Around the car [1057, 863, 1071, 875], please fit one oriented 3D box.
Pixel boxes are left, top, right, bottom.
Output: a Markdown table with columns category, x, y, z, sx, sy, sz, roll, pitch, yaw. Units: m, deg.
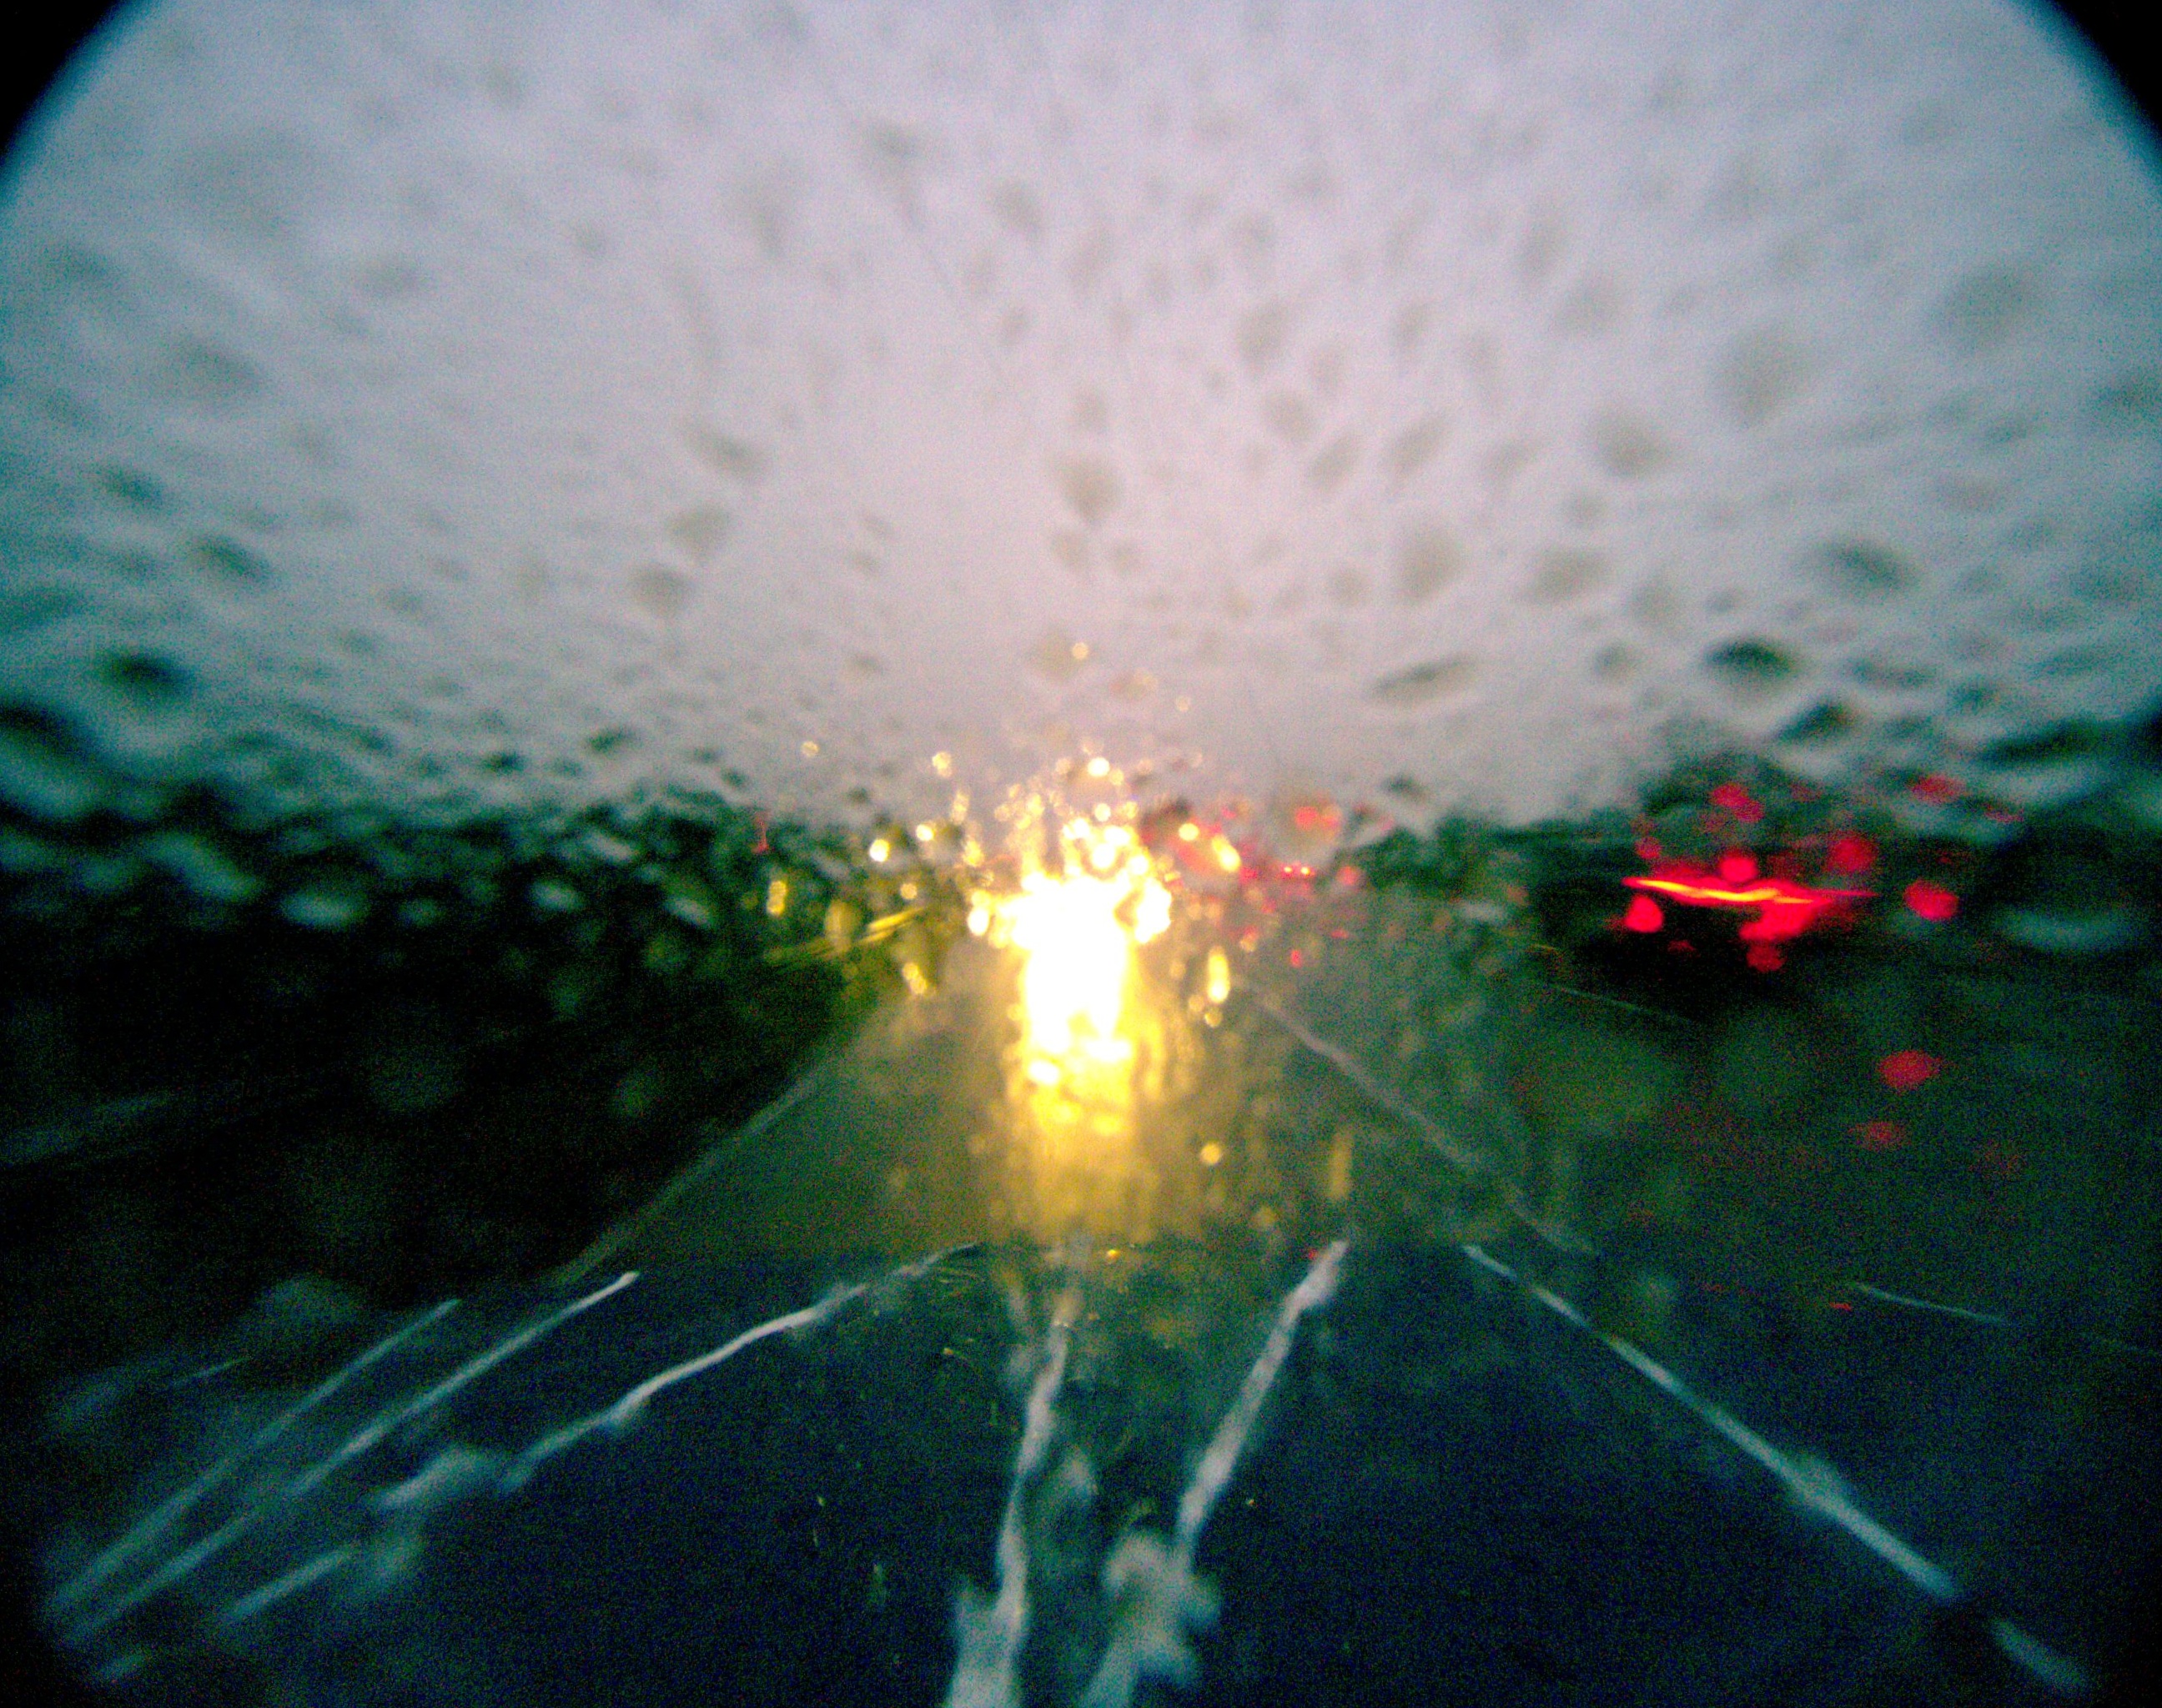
| category | x | y | z | sx | sy | sz | roll | pitch | yaw |
| --- | --- | --- | --- | --- | --- | --- | --- | --- | --- |
| car | -2.672 | 2.355 | 119.032 | 1.919 | 1.622 | 3.859 | 2 | -3 | -6 |

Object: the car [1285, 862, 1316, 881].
| category | x | y | z | sx | sy | sz | roll | pitch | yaw |
| --- | --- | --- | --- | --- | --- | --- | --- | --- | --- |
| car | 16.251 | 1.275 | 56.165 | 1.597 | 1.237 | 4.007 | -3 | -1 | 25 |

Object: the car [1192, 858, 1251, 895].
| category | x | y | z | sx | sy | sz | roll | pitch | yaw |
| --- | --- | --- | --- | --- | --- | --- | --- | --- | --- |
| car | 6.014 | 0.927 | 32.964 | 1.640 | 1.463 | 4.449 | -1 | 0 | -1 |

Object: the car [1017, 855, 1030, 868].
| category | x | y | z | sx | sy | sz | roll | pitch | yaw |
| --- | --- | --- | --- | --- | --- | --- | --- | --- | --- |
| car | -10.276 | 1.311 | 136.465 | 1.878 | 2.124 | 5.176 | 3 | -1 | -9 |

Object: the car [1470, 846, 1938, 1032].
| category | x | y | z | sx | sy | sz | roll | pitch | yaw |
| --- | --- | --- | --- | --- | --- | --- | --- | --- | --- |
| car | 6.605 | 0.743 | 8.879 | 1.893 | 1.580 | 4.382 | -2 | 0 | 1 |

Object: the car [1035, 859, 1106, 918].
| category | x | y | z | sx | sy | sz | roll | pitch | yaw |
| --- | --- | --- | --- | --- | --- | --- | --- | --- | --- |
| car | -0.247 | 0.929 | 22.304 | 1.886 | 1.514 | 4.000 | 0 | 1 | 1 |

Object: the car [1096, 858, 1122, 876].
| category | x | y | z | sx | sy | sz | roll | pitch | yaw |
| --- | --- | --- | --- | --- | --- | --- | --- | --- | --- |
| car | 2.352 | 1.096 | 65.282 | 1.700 | 1.409 | 3.998 | -2 | 0 | -5 |

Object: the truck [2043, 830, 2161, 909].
| category | x | y | z | sx | sy | sz | roll | pitch | yaw |
| --- | --- | --- | --- | --- | --- | --- | --- | --- | --- |
| truck | 64.108 | 0.891 | 43.800 | 3.279 | 4.584 | 13.890 | 0 | 1 | 16 |
